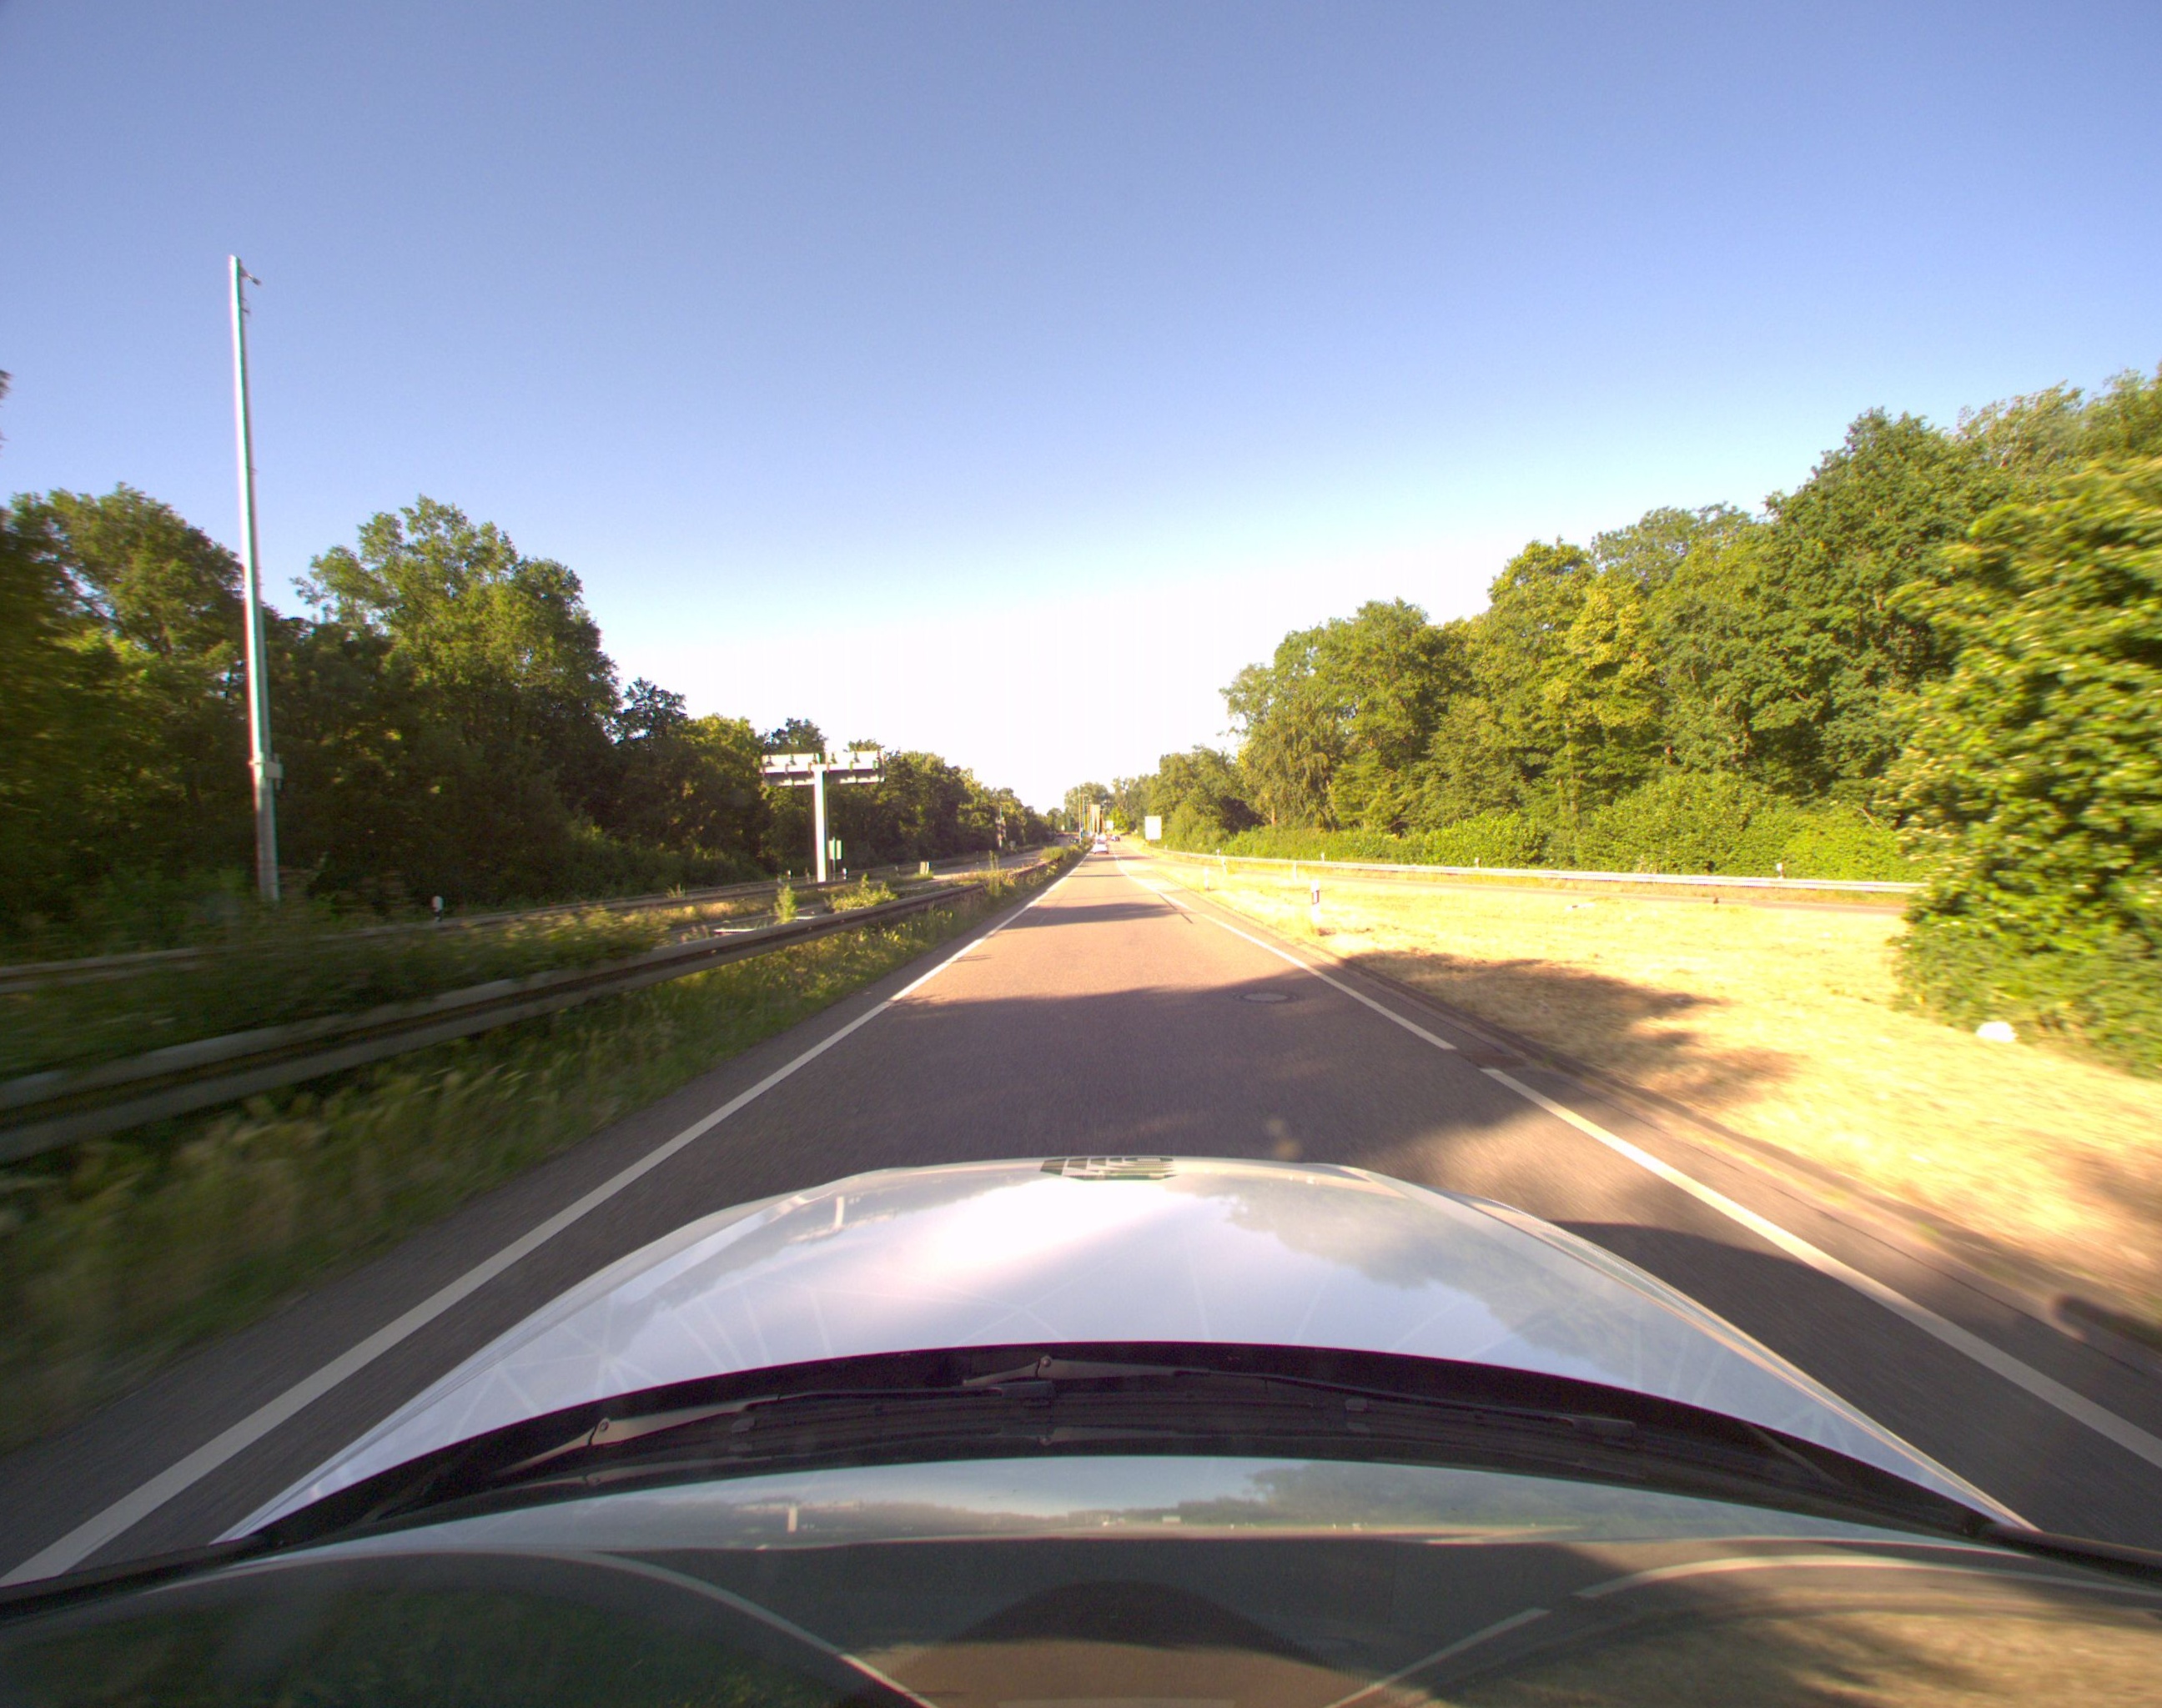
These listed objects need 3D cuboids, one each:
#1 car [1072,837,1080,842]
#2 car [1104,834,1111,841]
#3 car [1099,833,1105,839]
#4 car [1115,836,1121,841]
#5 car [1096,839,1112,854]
[{"bbox_3d":[-1.290,-3.918,217.543,1.773,1.403,4.557,-2,1,3],"label":"car"},{"bbox_3d":[8.008,-4.947,245.880,1.986,1.879,4.252,-2,2,2],"label":"car"},{"bbox_3d":[6.667,-5.675,256.487,1.986,2.013,4.001,0,1,1],"label":"car"},{"bbox_3d":[10.471,-4.376,230.247,1.383,1.280,2.988,1,0,1],"label":"car"},{"bbox_3d":[2.911,-0.952,103.089,1.986,1.639,4.130,-2,2,2],"label":"car"}]
